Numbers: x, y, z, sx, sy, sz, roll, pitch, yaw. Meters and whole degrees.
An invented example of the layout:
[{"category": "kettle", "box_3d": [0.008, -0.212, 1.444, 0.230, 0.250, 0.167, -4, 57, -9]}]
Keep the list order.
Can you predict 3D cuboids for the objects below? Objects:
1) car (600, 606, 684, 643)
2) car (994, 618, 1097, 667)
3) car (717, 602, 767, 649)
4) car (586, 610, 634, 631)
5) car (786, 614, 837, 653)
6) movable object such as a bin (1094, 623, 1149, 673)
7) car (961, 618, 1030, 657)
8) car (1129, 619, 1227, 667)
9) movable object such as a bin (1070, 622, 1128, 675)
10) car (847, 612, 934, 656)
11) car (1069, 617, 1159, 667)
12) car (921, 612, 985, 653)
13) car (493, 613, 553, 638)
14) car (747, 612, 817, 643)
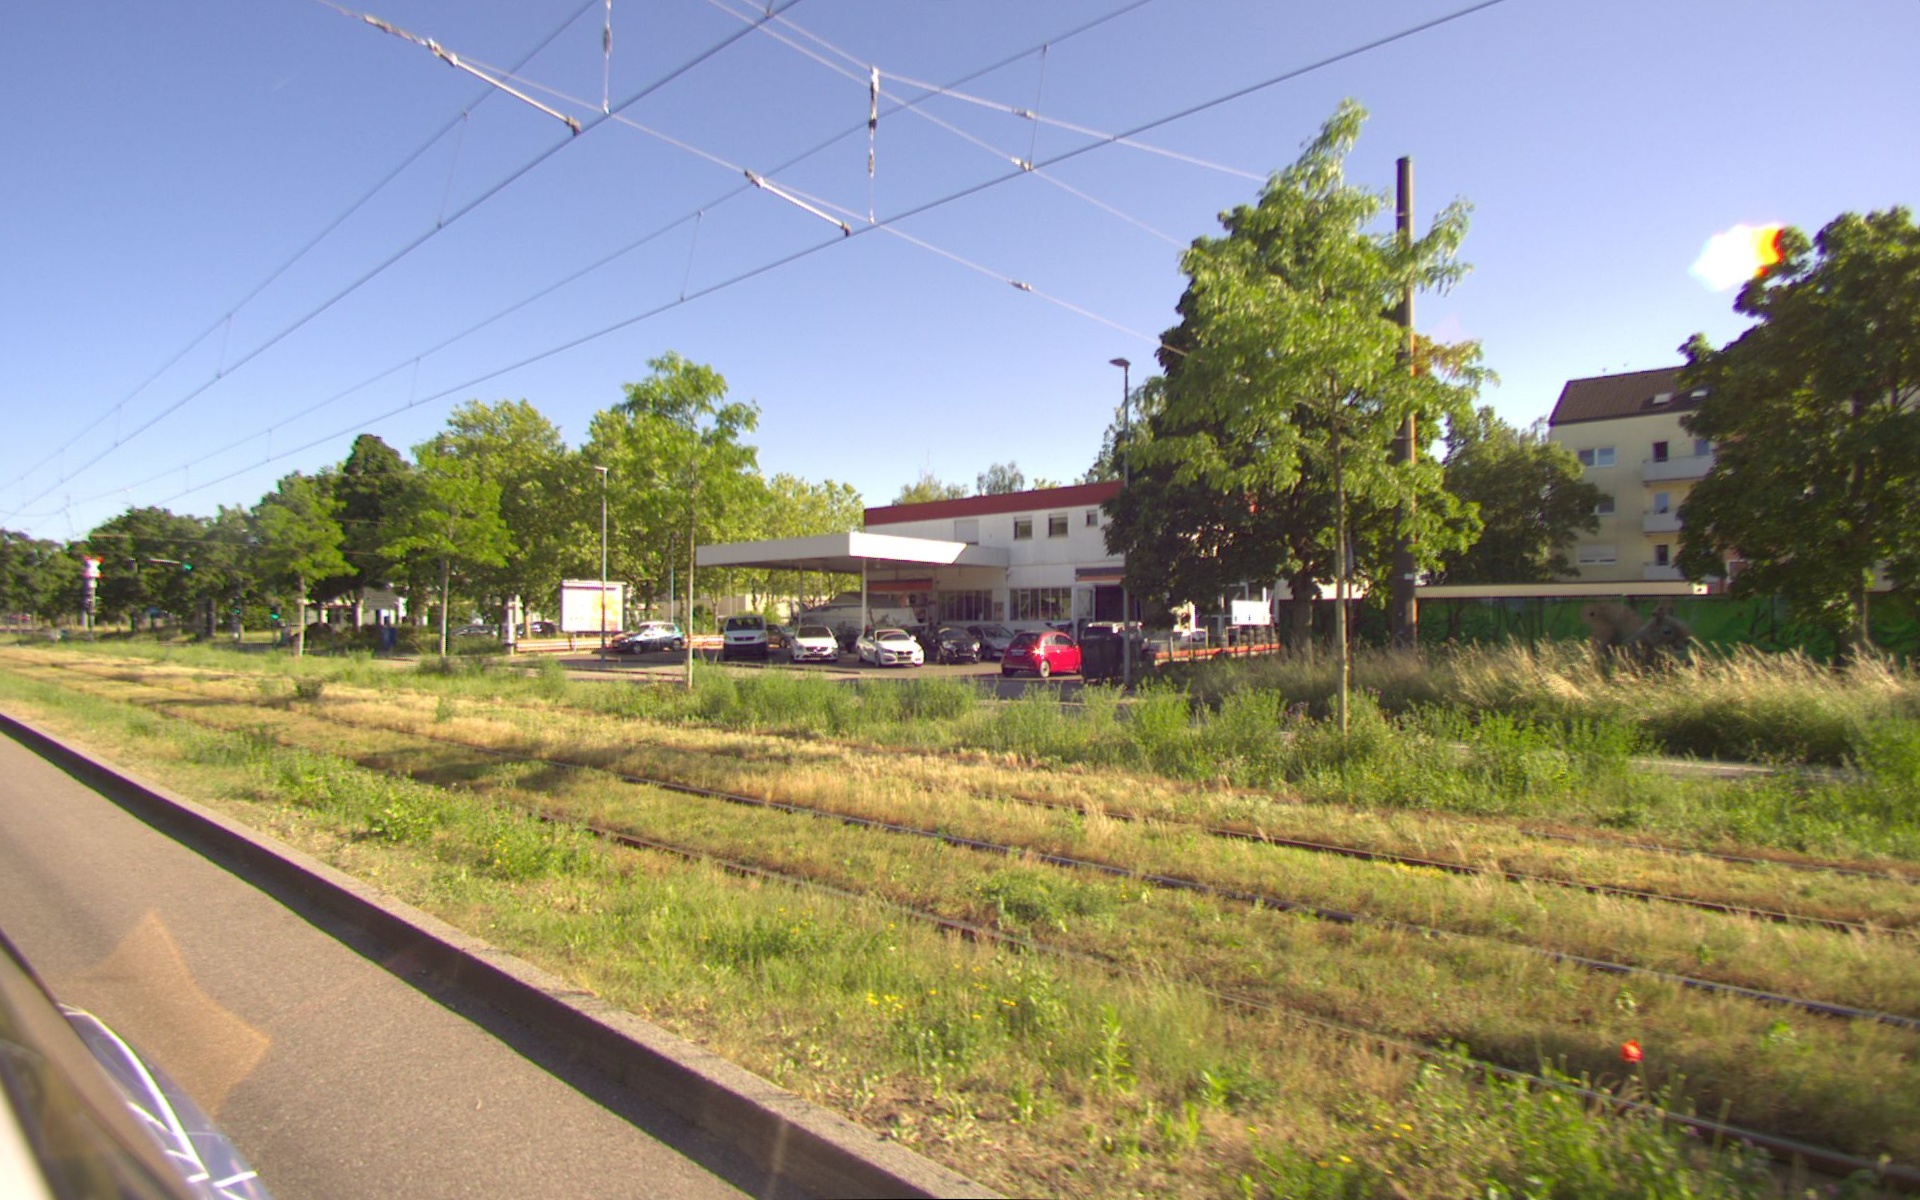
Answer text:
[{"category": "car", "box_3d": [-17.358, 1.327, 55.359, 2.000, 1.871, 3.943, -1, 0, 43]}, {"category": "car", "box_3d": [2.904, 1.394, 33.813, 1.640, 1.523, 3.663, -1, -2, 39]}, {"category": "car", "box_3d": [-9.530, 1.118, 44.524, 1.868, 1.925, 4.820, 0, -1, -9]}, {"category": "car", "box_3d": [-34.681, 1.970, 100.311, 1.997, 1.945, 4.002, 0, 0, 38]}, {"category": "car", "box_3d": [-6.145, 1.341, 41.621, 1.689, 1.435, 4.469, 0, 0, -13]}, {"category": "movable object such as a bin", "box_3d": [4.594, 1.352, 28.797, 1.119, 1.375, 1.212, 0, -1, 38]}, {"category": "car", "box_3d": [1.479, 1.604, 43.715, 1.994, 1.562, 4.311, 1, -2, -12]}, {"category": "car", "box_3d": [7.648, 1.459, 35.275, 1.704, 1.521, 3.778, -1, 0, 41]}, {"category": "movable object such as a bin", "box_3d": [3.815, 1.320, 27.774, 1.119, 1.379, 1.212, 0, 0, 38]}, {"category": "car", "box_3d": [-2.800, 1.282, 39.531, 1.992, 1.519, 4.905, 1, 0, -21]}, {"category": "car", "box_3d": [5.704, 1.501, 37.274, 1.703, 1.646, 3.709, -1, 0, 37]}, {"category": "car", "box_3d": [-0.342, 1.278, 41.196, 1.820, 1.519, 4.000, 1, 0, -12]}, {"category": "car", "box_3d": [-35.285, 2.016, 81.716, 1.997, 1.840, 4.002, 0, 0, 38]}, {"category": "car", "box_3d": [-10.829, 1.651, 61.525, 1.970, 1.833, 4.530, 2, -2, -45]}]
